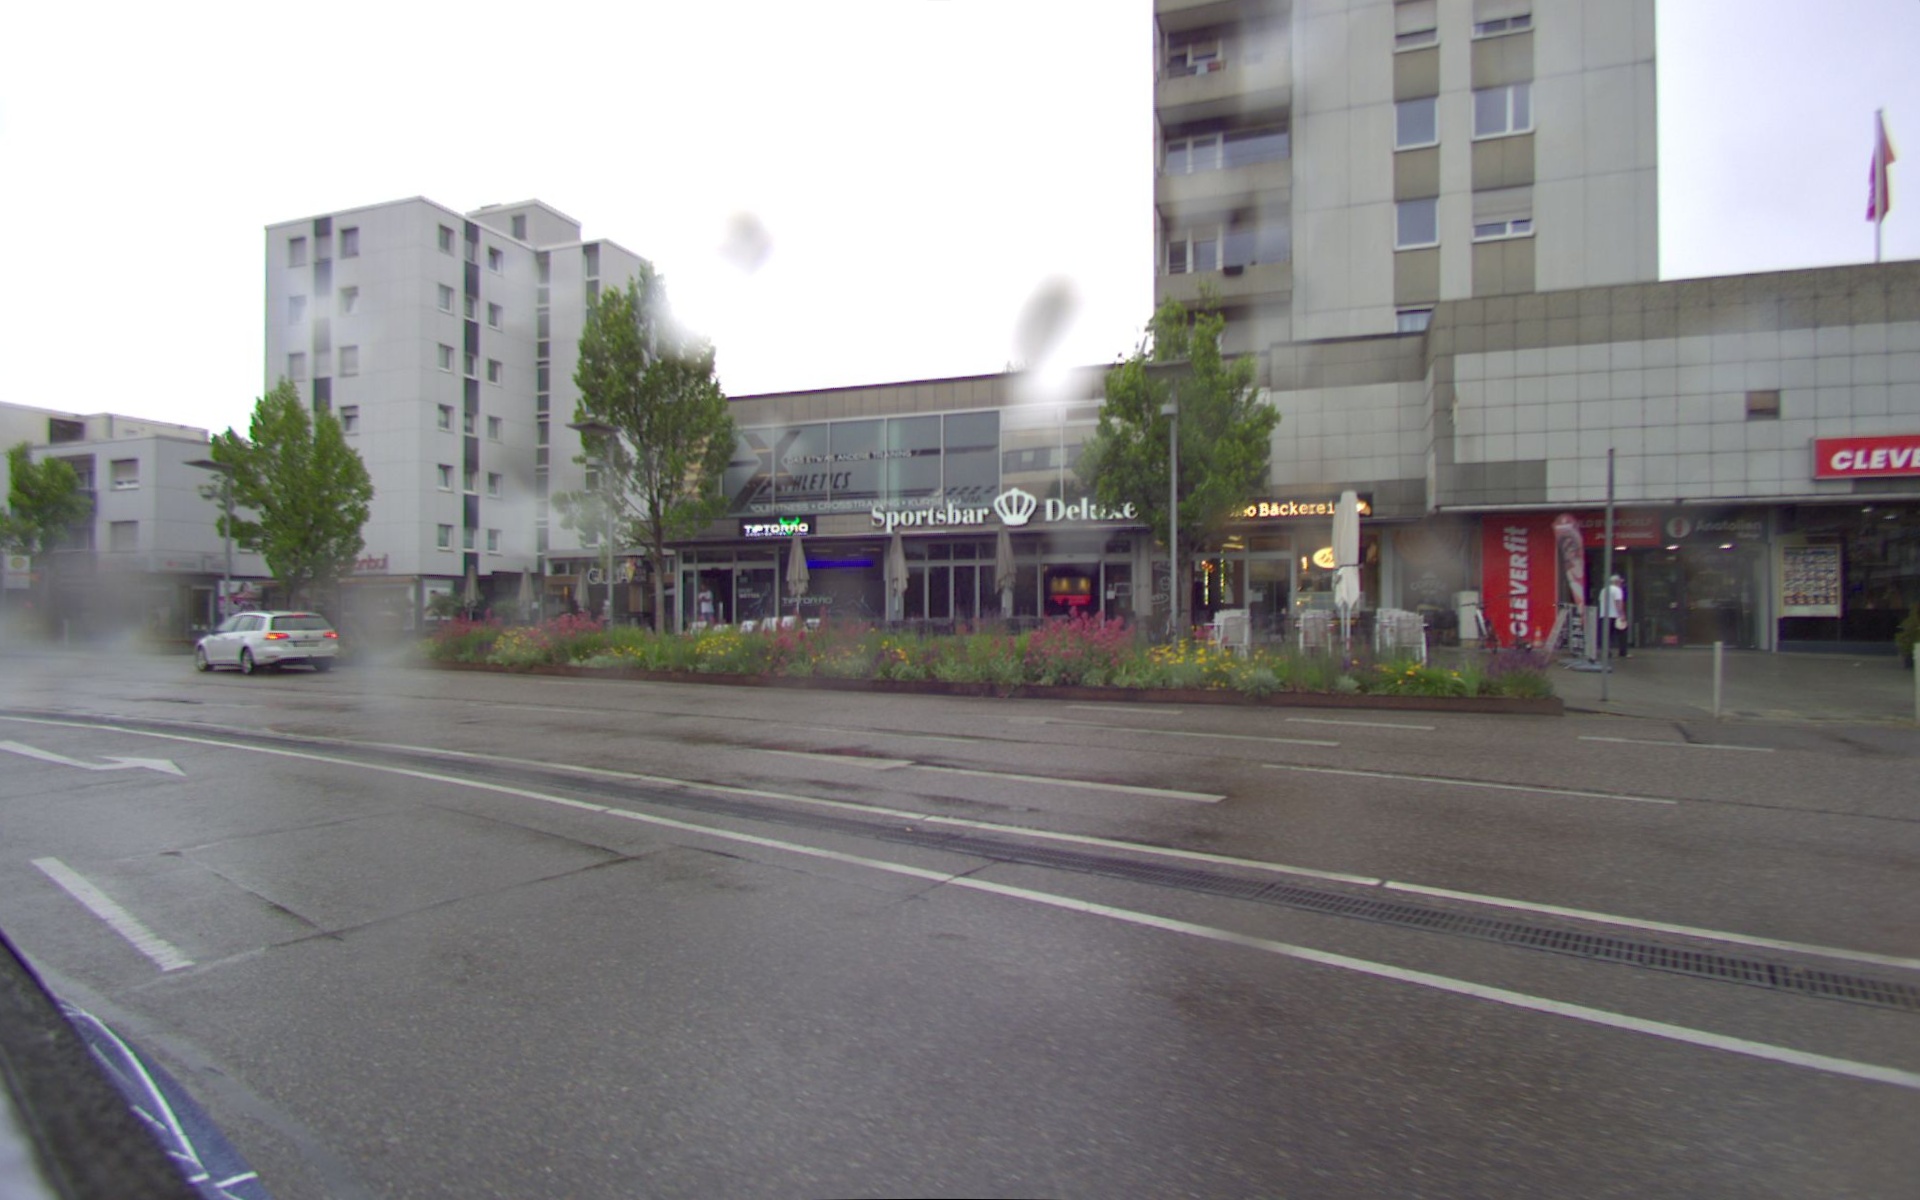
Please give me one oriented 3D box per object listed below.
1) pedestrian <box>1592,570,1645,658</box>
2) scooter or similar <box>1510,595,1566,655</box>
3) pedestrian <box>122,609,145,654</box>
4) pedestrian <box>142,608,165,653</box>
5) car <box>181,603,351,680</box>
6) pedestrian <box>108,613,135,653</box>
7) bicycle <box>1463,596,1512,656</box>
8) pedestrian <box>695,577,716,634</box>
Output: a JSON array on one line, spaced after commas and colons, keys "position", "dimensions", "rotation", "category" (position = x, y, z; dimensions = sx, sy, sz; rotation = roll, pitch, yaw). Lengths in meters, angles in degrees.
[{"position": [13.135, 0.279, 20.183], "dimensions": [0.647, 1.706, 0.717], "rotation": [0, -1, -41], "category": "pedestrian"}, {"position": [12.189, 0.508, 21.413], "dimensions": [0.638, 1.183, 2.574], "rotation": [-1, -1, 22], "category": "scooter or similar"}, {"position": [-30.918, 1.187, 37.856], "dimensions": [0.533, 1.672, 0.476], "rotation": [-1, -1, 21], "category": "pedestrian"}, {"position": [-30.577, 1.146, 38.363], "dimensions": [0.477, 1.672, 0.532], "rotation": [-1, -1, 26], "category": "pedestrian"}, {"position": [-16.862, 0.947, 24.541], "dimensions": [4.493, 1.695, 1.870], "rotation": [-1, 0, 34], "category": "car"}, {"position": [-32.620, 1.284, 39.364], "dimensions": [0.606, 1.516, 0.537], "rotation": [-1, -1, -3], "category": "pedestrian"}, {"position": [11.350, 0.535, 21.824], "dimensions": [0.692, 1.232, 2.534], "rotation": [-1, 0, 23], "category": "bicycle"}, {"position": [-8.332, 0.185, 33.129], "dimensions": [0.499, 1.862, 0.423], "rotation": [-1, -1, 30], "category": "pedestrian"}]
